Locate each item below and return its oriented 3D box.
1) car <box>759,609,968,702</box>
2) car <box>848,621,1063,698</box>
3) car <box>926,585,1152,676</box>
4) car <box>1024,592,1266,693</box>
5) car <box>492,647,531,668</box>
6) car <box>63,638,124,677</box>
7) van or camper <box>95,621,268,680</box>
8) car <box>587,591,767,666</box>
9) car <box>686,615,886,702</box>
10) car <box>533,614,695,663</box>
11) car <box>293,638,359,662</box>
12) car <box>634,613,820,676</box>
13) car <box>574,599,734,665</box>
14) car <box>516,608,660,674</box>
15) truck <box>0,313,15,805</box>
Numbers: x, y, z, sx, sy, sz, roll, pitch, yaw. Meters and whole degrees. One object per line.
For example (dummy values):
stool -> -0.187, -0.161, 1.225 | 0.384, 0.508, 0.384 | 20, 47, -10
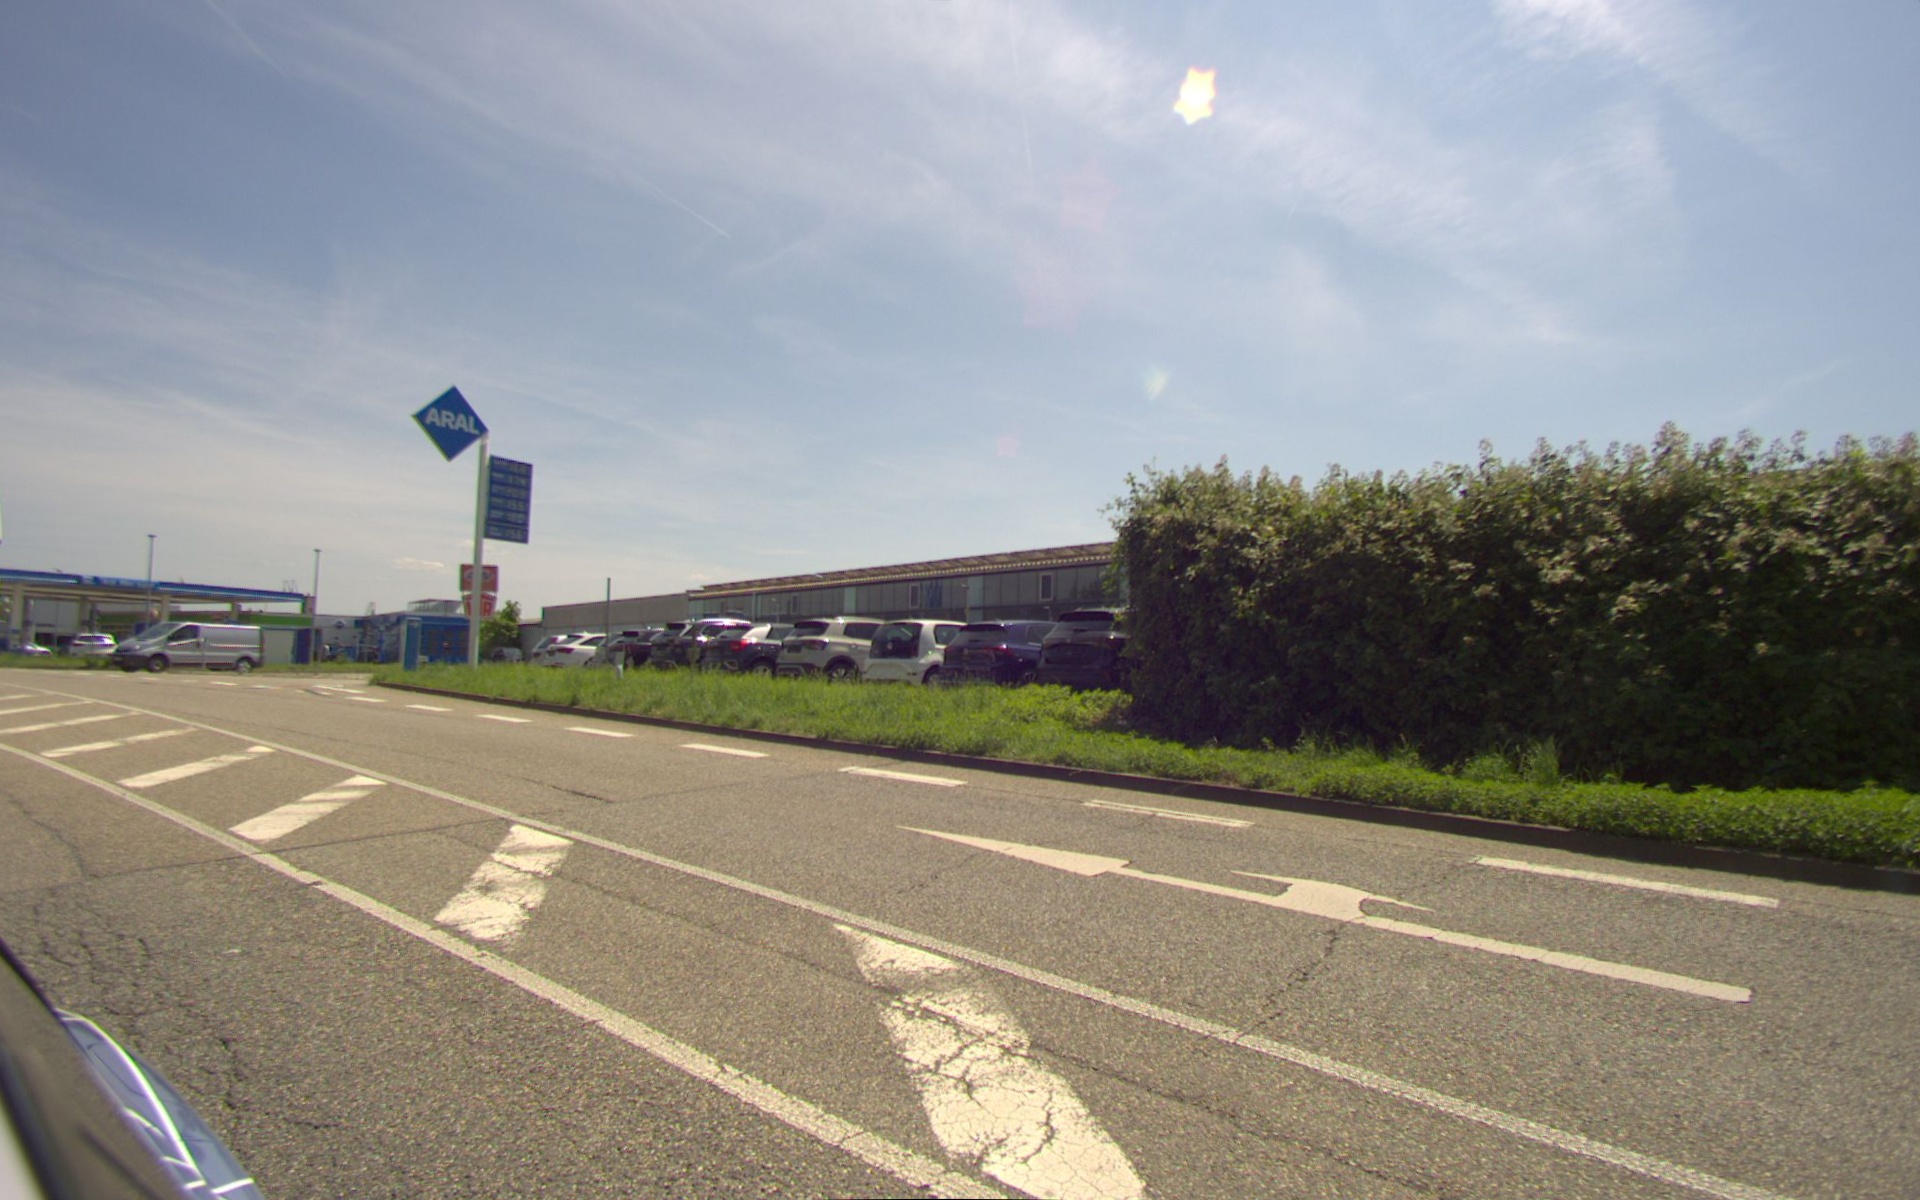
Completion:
car -> -1.970, 1.216, 21.289 | 3.938, 1.763, 2.003 | 5, -6, -41
car -> -0.013, 1.189, 19.440 | 3.940, 1.327, 1.835 | 5, -6, -44
car -> 1.482, 0.611, 17.838 | 3.940, 1.373, 1.821 | 5, -6, -44
car -> 2.945, 0.609, 15.781 | 3.650, 1.383, 1.806 | 0, -1, -41
car -> -32.998, 4.228, 74.355 | 1.731, 1.453, 3.907 | 1, -2, -38
car -> -41.800, 2.742, 48.918 | 1.838, 1.725, 4.529 | 3, -3, -36
van or camper -> -29.751, 1.979, 38.866 | 1.893, 1.919, 4.823 | -1, -7, 24
car -> -7.230, 0.767, 26.048 | 3.937, 1.763, 2.003 | 3, -3, -41
car -> -3.851, 1.364, 22.725 | 3.938, 1.763, 2.003 | 5, -6, -41
car -> -10.423, 1.209, 30.631 | 4.186, 1.369, 2.002 | 3, -4, -43
car -> -44.937, 3.496, 71.804 | 3.932, 1.619, 1.952 | 1, -2, -33
car -> -5.670, 1.137, 24.834 | 3.938, 1.342, 2.003 | 5, -6, -41
car -> -8.793, 0.951, 29.195 | 3.937, 1.763, 1.937 | 3, -3, -41
car -> -12.013, 1.302, 32.821 | 3.939, 2.029, 2.002 | 1, -2, -43
truck -> -15.984, -0.366, 12.491 | 17.597, 4.124, 2.947 | 0, 0, 36
